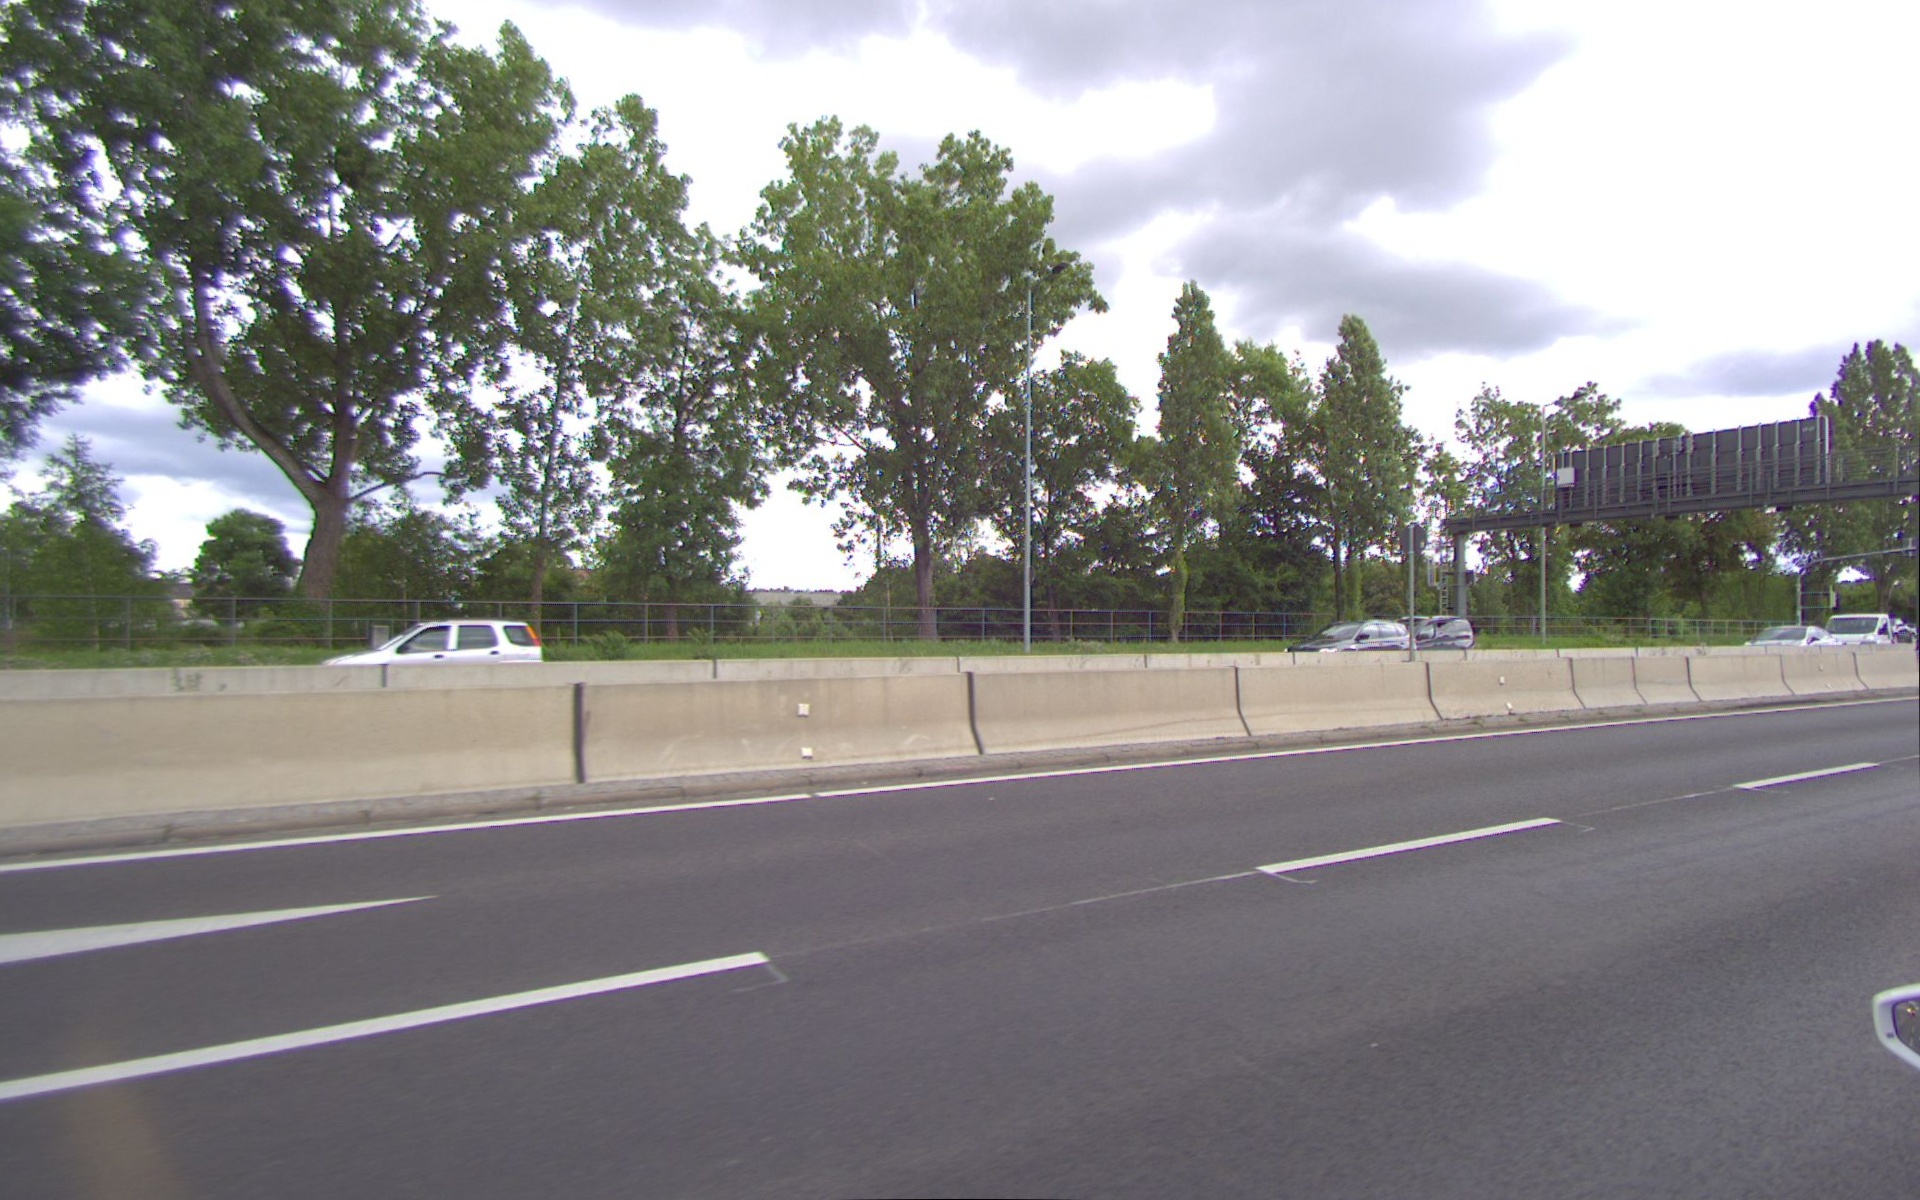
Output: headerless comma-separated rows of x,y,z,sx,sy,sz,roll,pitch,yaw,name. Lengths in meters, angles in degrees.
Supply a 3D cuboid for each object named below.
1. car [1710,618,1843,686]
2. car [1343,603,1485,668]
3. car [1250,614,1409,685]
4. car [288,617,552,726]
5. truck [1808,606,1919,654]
27.656,1.691,34.001,4.627,2.041,1.983,0,1,-31,car
15.587,1.154,34.422,4.879,2.041,1.983,0,1,-31,car
9.931,1.257,26.946,4.078,1.705,1.868,0,1,-31,car
-9.795,1.217,18.423,4.075,1.705,1.868,0,1,-31,car
41.275,1.304,45.766,6.231,2.041,2.192,0,1,-32,truck
